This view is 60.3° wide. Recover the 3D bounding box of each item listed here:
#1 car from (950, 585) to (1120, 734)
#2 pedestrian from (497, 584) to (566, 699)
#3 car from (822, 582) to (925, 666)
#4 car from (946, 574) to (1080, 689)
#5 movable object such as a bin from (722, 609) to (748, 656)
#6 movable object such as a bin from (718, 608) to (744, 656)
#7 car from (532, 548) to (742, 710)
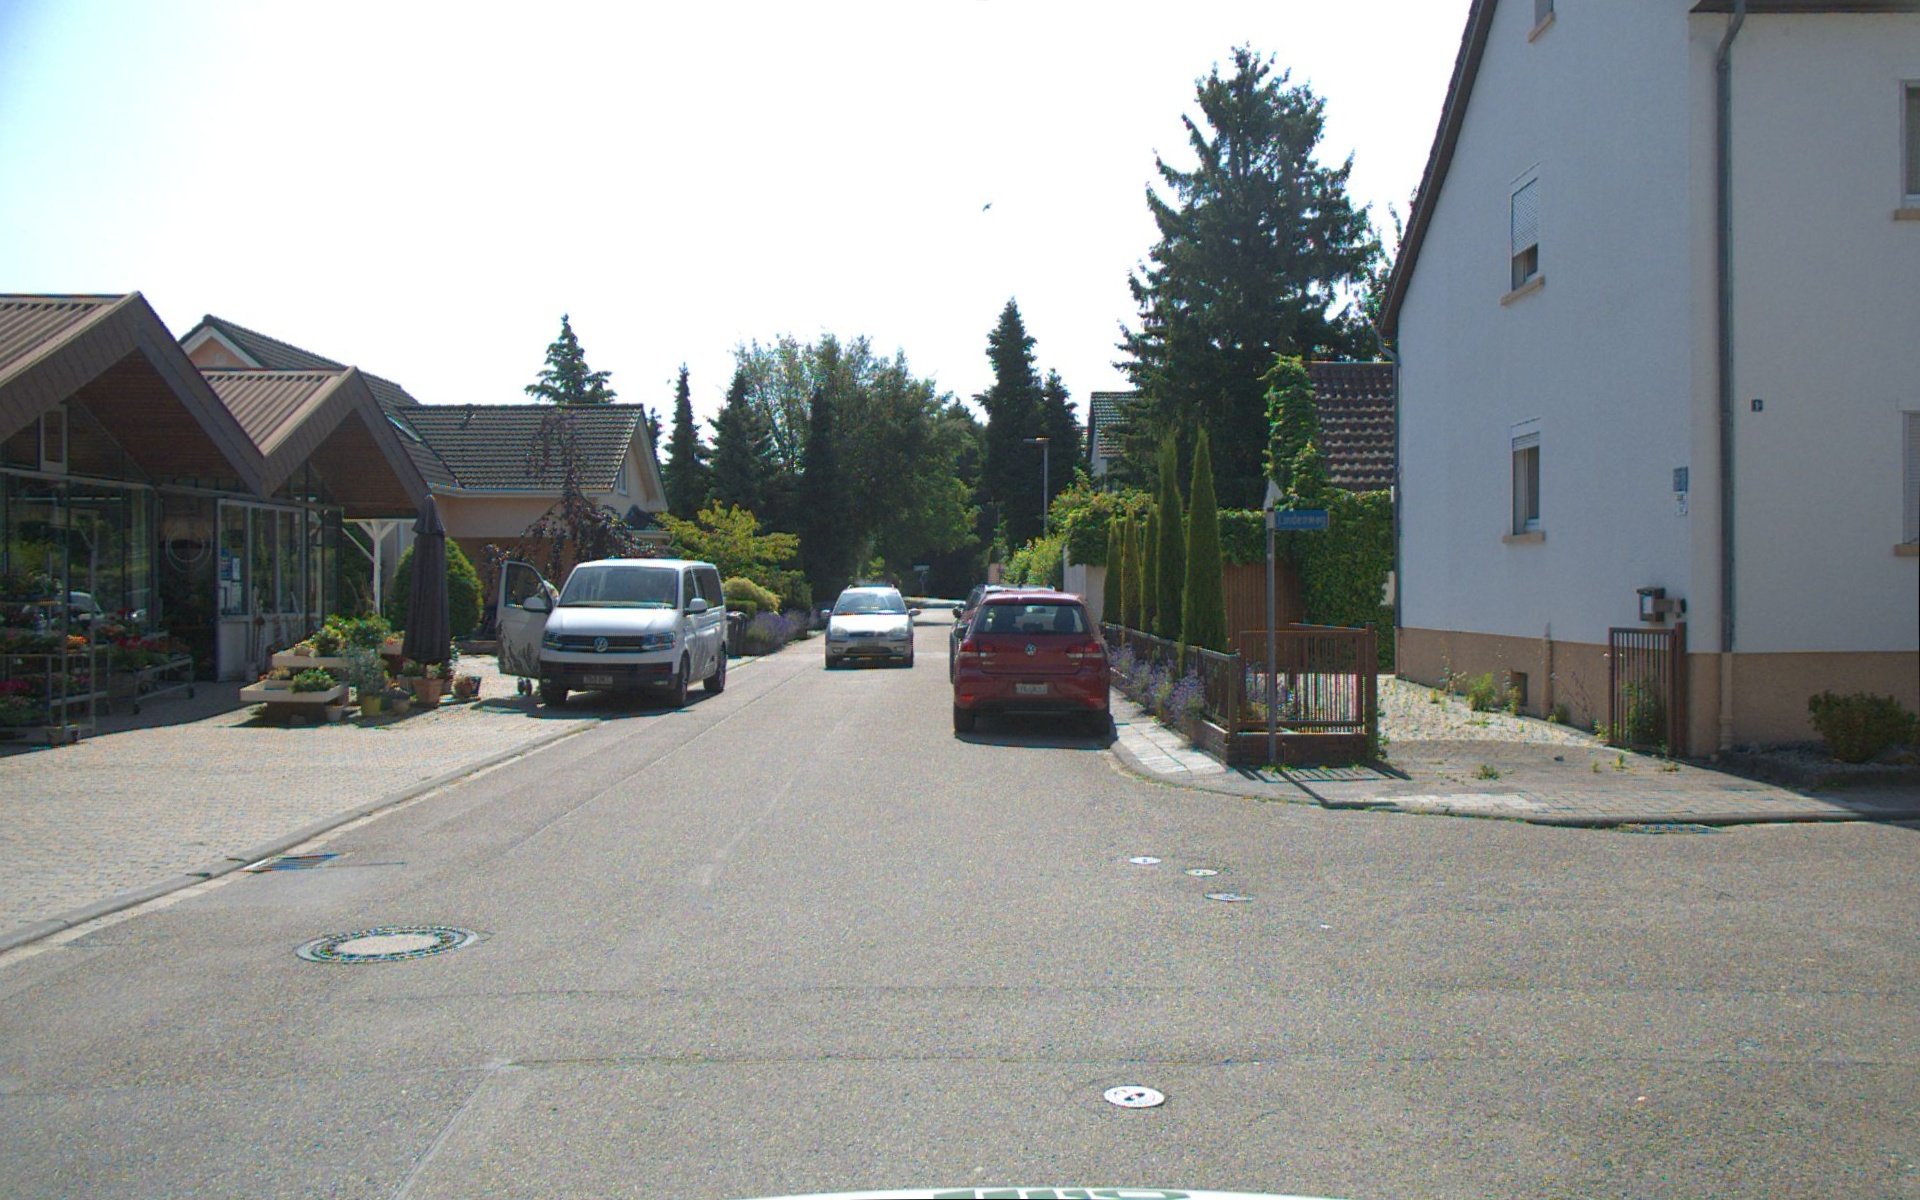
[{"bbox_3d":[0.891,0.605,19.165,1.738,1.505,4.002,1,0,3],"label":"car"},{"bbox_3d":[-5.972,0.560,23.055,0.704,1.565,0.640,1,1,33],"label":"pedestrian"},{"bbox_3d":[-1.644,0.423,32.656,1.716,1.513,4.376,-1,0,1],"label":"car"},{"bbox_3d":[0.753,0.444,25.942,1.786,1.643,3.998,0,0,-3],"label":"car"},{"bbox_3d":[-5.041,0.728,37.062,0.484,1.042,0.447,-1,0,0],"label":"movable object such as a bin"},{"bbox_3d":[-5.067,0.710,36.599,0.484,1.042,0.447,-1,0,0],"label":"movable object such as a bin"},{"bbox_3d":[-4.427,0.349,23.457,1.889,2.049,4.897,0,0,1],"label":"car"}]
